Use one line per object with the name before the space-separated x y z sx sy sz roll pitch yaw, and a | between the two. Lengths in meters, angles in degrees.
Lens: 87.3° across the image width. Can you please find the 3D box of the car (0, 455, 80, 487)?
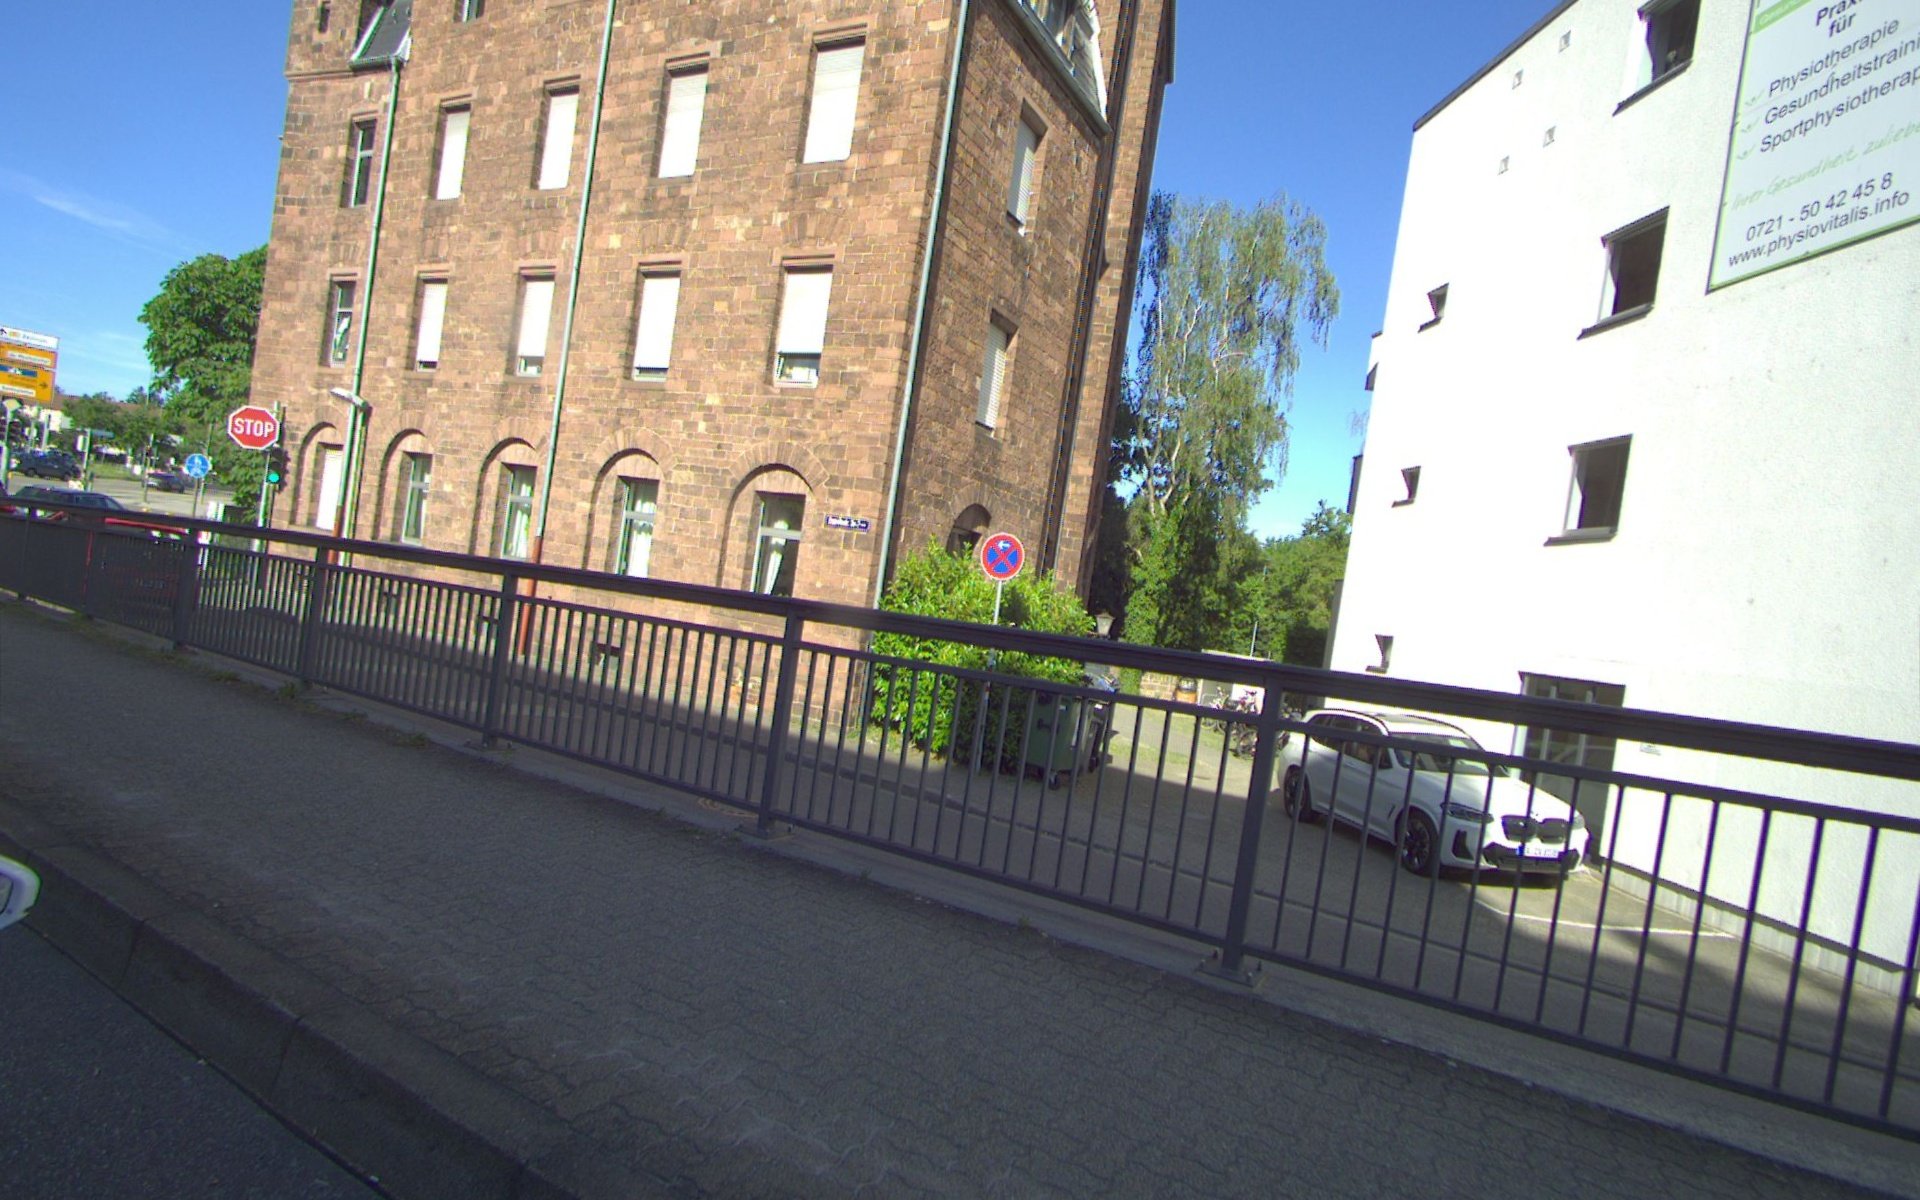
car | -62.254 -8.667 67.540 1.964 1.459 4.819 9 1 0

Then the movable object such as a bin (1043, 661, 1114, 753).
movable object such as a bin | 2.290 2.017 19.268 1.009 1.539 1.007 10 0 14

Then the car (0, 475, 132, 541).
car | -27.677 -2.818 31.284 1.706 1.623 4.270 10 0 -24

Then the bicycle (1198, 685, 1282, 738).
bicycle | 7.912 3.136 28.412 2.075 1.174 0.664 8 1 -9

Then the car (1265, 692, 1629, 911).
car | 5.977 2.404 13.126 1.814 1.707 4.521 8 0 -9

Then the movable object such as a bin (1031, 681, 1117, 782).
movable object such as a bin | 1.765 1.999 15.480 1.009 1.307 1.007 10 0 14

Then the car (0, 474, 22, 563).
car | -22.369 -2.083 21.443 4.219 1.832 1.729 8 -2 23

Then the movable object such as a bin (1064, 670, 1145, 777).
movable object such as a bin | 2.406 2.016 16.661 1.009 1.539 1.007 10 0 14

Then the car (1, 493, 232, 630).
car | -13.439 -0.620 15.995 3.427 1.540 1.724 10 1 32

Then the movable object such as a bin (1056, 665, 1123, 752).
movable object such as a bin | 2.650 2.183 20.457 1.009 1.539 1.007 10 0 14

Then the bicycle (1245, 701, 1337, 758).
bicycle | 7.978 3.115 24.251 1.889 1.065 0.664 8 1 -6

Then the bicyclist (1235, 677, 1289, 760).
bicyclist | 6.551 2.556 21.817 0.684 1.627 0.687 9 0 -6

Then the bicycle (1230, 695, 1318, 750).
bicycle | 7.874 3.083 25.279 1.889 1.065 0.664 8 1 -6

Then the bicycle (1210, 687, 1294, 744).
bicycle | 7.672 3.026 26.446 1.889 1.174 0.664 8 1 -6

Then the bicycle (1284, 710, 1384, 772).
bicycle | 8.338 3.139 22.449 1.889 1.065 0.664 8 1 -6

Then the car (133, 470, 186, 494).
car | -65.075 -9.548 81.842 1.972 1.459 4.272 8 2 -20

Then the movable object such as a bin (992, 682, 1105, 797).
movable object such as a bin | 1.197 1.851 13.518 1.011 1.307 1.005 10 0 29

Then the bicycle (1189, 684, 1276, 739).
bicycle | 7.411 3.028 27.379 2.075 1.174 0.664 8 1 -9

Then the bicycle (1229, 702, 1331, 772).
bicycle | 6.787 2.910 21.351 1.807 1.155 0.688 8 2 -7

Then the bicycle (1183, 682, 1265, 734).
bicycle | 7.668 3.137 29.264 2.075 1.174 0.664 8 1 -9

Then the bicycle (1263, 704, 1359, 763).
bicycle | 8.134 3.095 23.363 1.889 1.065 0.664 8 1 -6
